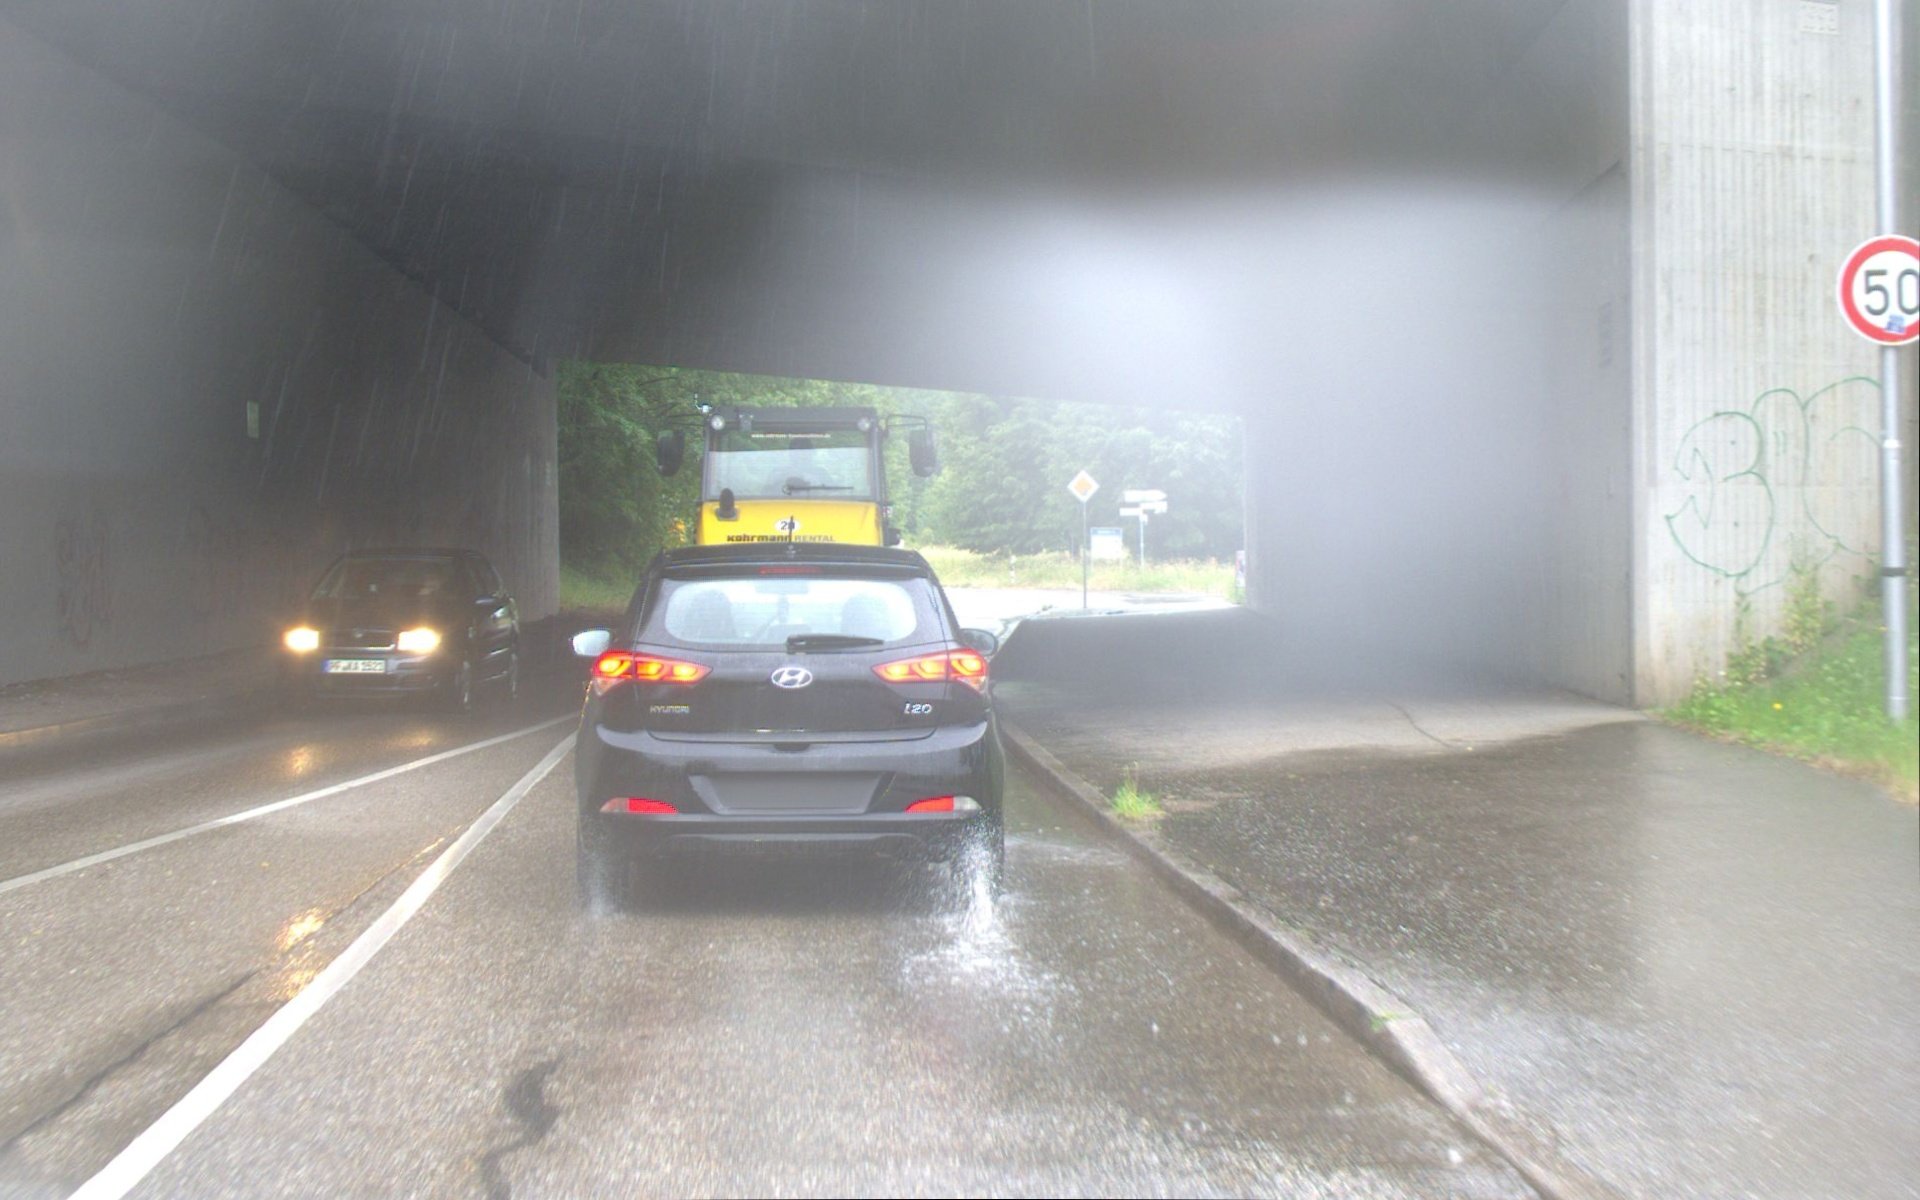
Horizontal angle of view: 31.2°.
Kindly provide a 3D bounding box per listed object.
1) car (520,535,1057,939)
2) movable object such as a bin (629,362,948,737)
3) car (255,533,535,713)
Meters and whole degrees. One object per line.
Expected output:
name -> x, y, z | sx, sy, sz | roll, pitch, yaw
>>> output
car -> -0.702, 0.492, 15.013 | 1.993, 1.482, 4.000 | 1, 1, -2
movable object such as a bin -> -1.332, -0.413, 28.231 | 2.245, 2.660, 6.627 | 1, 1, -2
car -> -4.943, 0.158, 30.554 | 1.690, 1.482, 4.073 | 0, 1, 2
